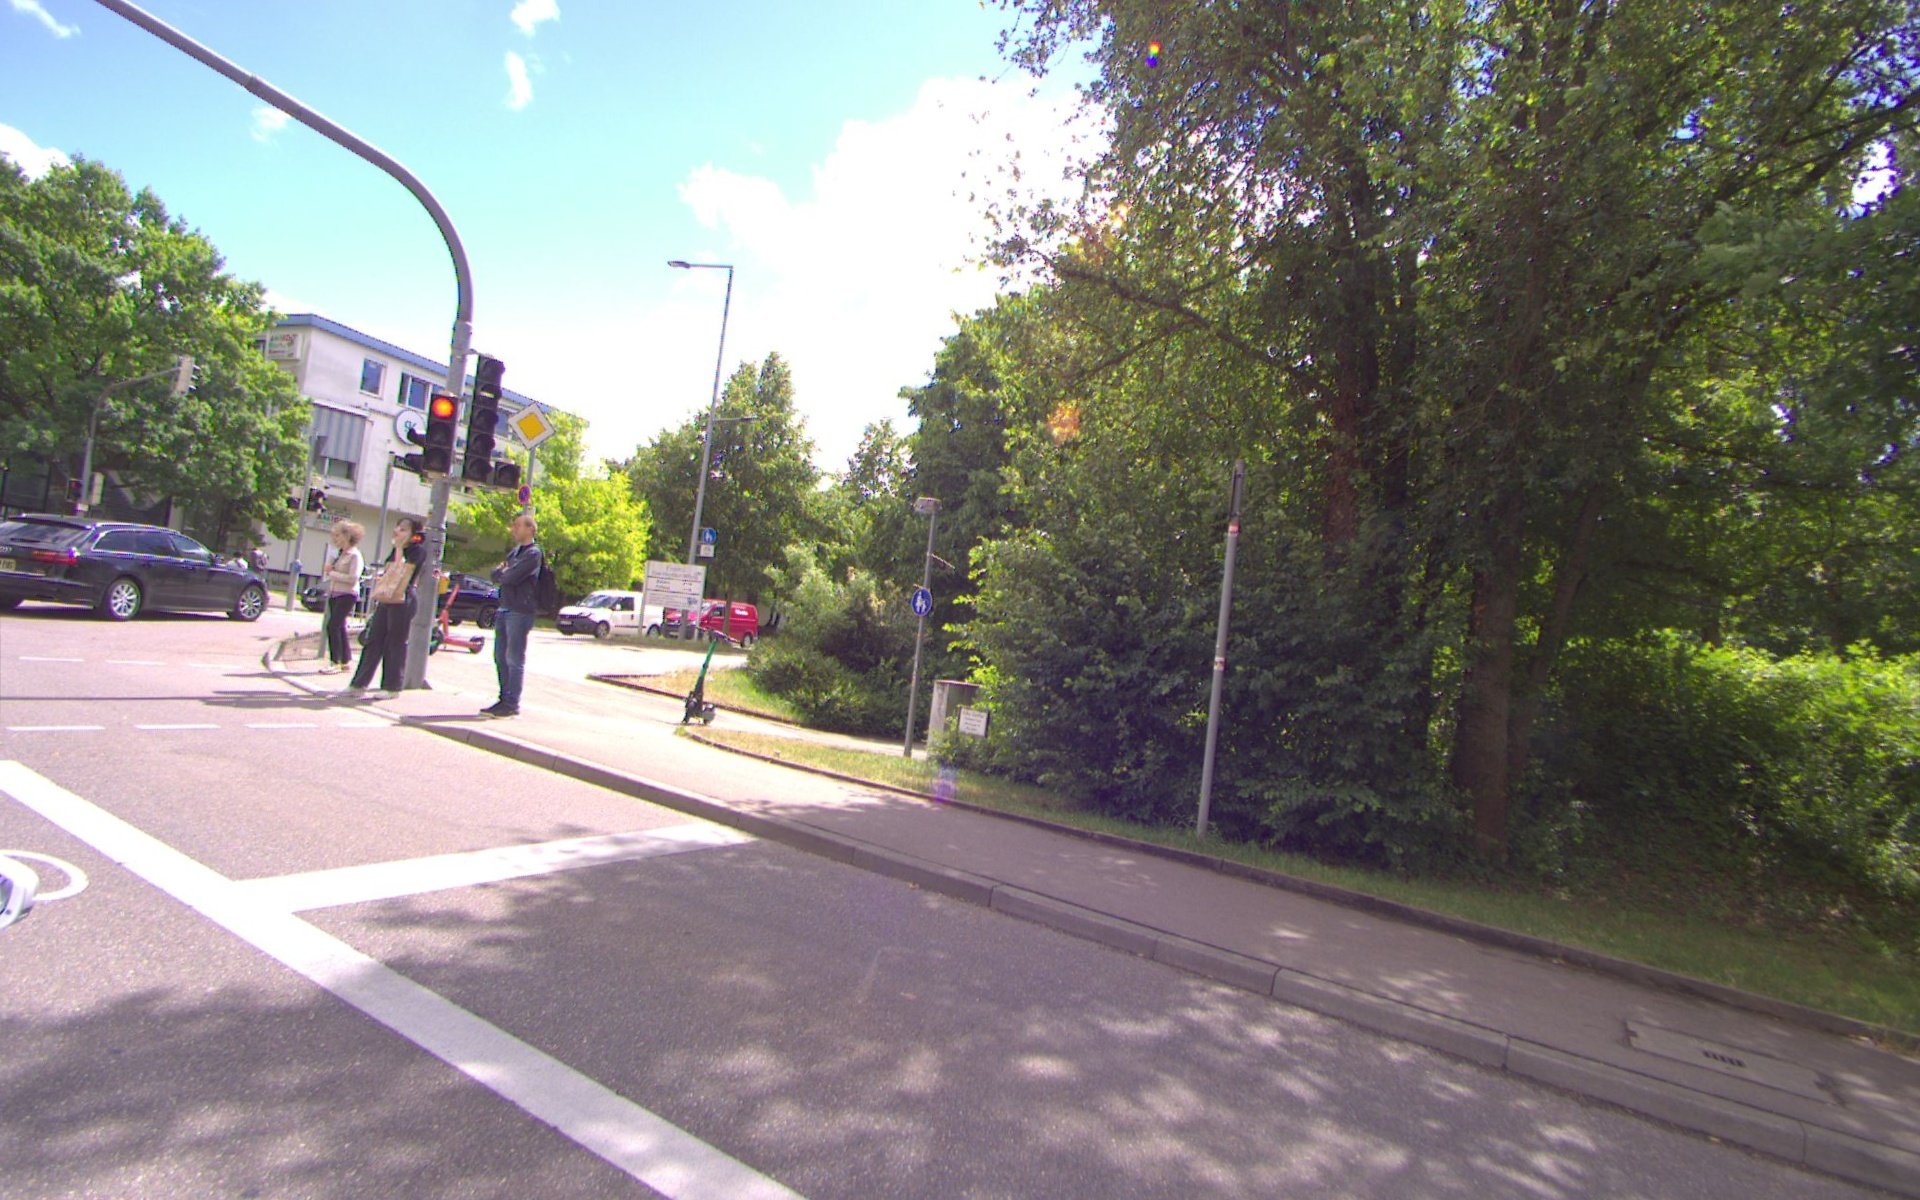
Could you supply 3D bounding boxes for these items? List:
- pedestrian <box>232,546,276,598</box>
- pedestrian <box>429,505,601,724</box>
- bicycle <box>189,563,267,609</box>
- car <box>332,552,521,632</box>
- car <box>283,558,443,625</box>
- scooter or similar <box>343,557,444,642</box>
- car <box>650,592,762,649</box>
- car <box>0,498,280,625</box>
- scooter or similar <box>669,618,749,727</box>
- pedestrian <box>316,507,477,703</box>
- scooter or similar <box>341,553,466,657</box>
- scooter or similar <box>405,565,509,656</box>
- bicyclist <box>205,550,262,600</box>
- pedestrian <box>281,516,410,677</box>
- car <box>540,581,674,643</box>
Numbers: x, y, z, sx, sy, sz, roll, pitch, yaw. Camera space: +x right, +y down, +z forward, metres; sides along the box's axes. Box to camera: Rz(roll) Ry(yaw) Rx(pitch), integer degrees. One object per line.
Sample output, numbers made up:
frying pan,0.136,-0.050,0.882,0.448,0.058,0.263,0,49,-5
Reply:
pedestrian,-24.984,-0.999,35.596,0.891,1.662,0.770,7,-2,28
pedestrian,-4.333,0.162,9.843,0.881,1.964,0.968,7,-1,28
bicycle,-17.203,-0.327,23.642,1.778,0.828,0.793,6,-2,32
car,-15.754,-0.178,29.993,1.964,1.737,4.574,7,-2,25
car,-19.163,-0.235,32.483,1.963,1.573,3.923,7,-2,21
scooter or similar,-8.945,0.025,15.949,0.533,1.168,1.362,9,-3,7
car,-10.604,0.903,42.399,1.964,1.885,4.822,5,-3,23
car,-13.142,-0.524,15.796,1.965,1.571,4.521,7,-2,-5
scooter or similar,-3.348,1.001,13.532,0.706,1.287,1.243,10,-7,-7
pedestrian,-5.562,0.066,9.972,0.758,1.787,0.936,7,0,20
scooter or similar,-7.884,0.090,14.285,0.455,1.292,1.344,8,-1,38
scooter or similar,-7.936,0.188,15.917,0.547,1.254,1.231,8,-3,23
bicyclist,-17.004,-0.583,23.550,0.625,1.034,0.793,7,-2,31
pedestrian,-7.023,-0.036,11.501,0.950,1.694,0.860,7,-1,-43
car,-12.953,0.504,37.223,1.963,1.737,4.576,7,-2,23
